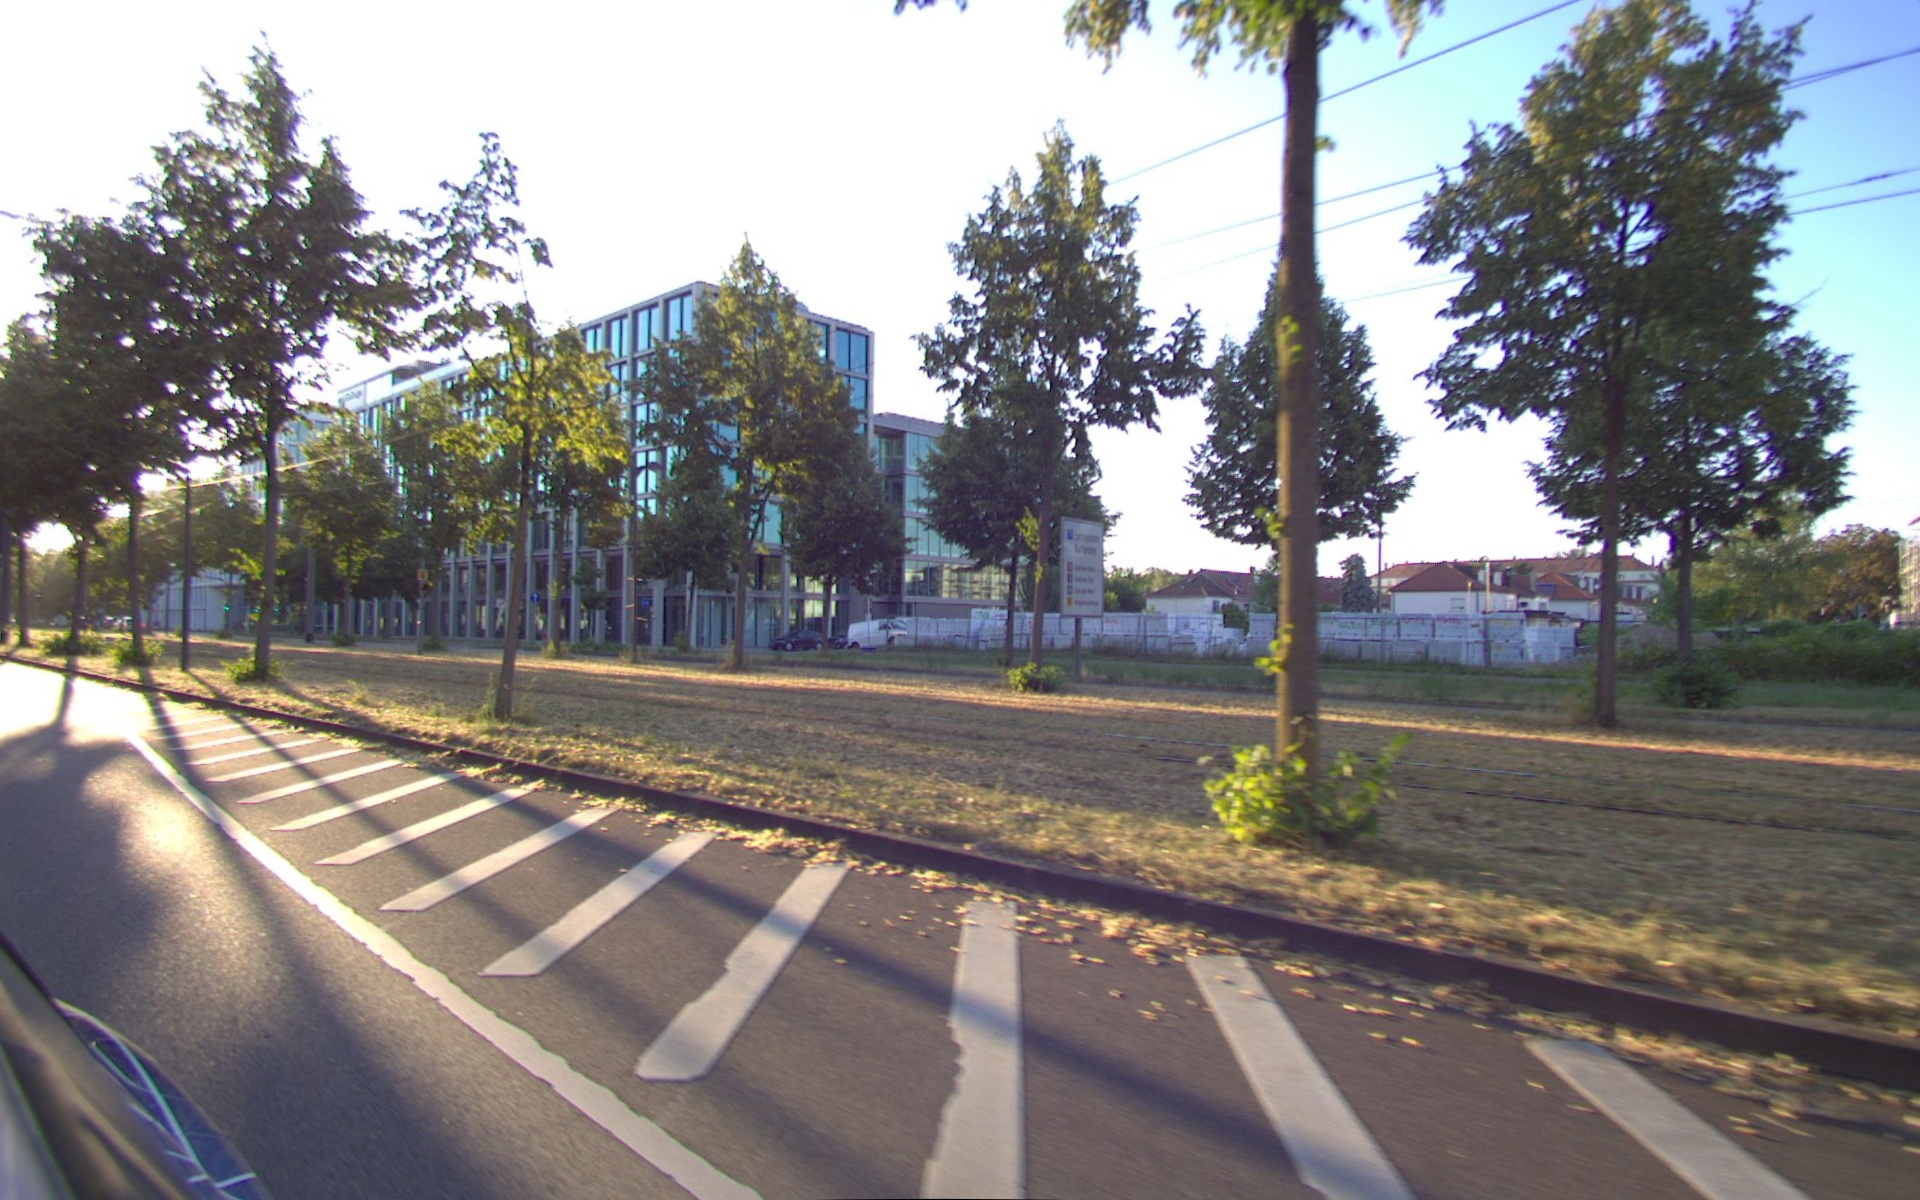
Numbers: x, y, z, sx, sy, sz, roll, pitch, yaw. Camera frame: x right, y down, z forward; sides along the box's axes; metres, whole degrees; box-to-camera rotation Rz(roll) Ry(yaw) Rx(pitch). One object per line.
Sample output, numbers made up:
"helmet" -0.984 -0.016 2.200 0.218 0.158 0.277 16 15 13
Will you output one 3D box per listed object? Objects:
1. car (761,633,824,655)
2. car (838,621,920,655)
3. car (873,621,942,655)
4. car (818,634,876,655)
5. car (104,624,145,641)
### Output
"car" -11.586 3.047 70.092 1.894 1.457 3.943 -1 -3 43
"car" -5.103 2.341 63.287 5.081 2.029 2.183 -1 -3 41
"car" -3.980 2.897 77.676 1.974 2.486 5.419 -1 -3 45
"car" -8.178 3.226 73.503 1.895 1.457 3.942 -1 -3 44
"car" -74.106 2.859 89.781 4.626 1.497 1.884 -1 -3 39
